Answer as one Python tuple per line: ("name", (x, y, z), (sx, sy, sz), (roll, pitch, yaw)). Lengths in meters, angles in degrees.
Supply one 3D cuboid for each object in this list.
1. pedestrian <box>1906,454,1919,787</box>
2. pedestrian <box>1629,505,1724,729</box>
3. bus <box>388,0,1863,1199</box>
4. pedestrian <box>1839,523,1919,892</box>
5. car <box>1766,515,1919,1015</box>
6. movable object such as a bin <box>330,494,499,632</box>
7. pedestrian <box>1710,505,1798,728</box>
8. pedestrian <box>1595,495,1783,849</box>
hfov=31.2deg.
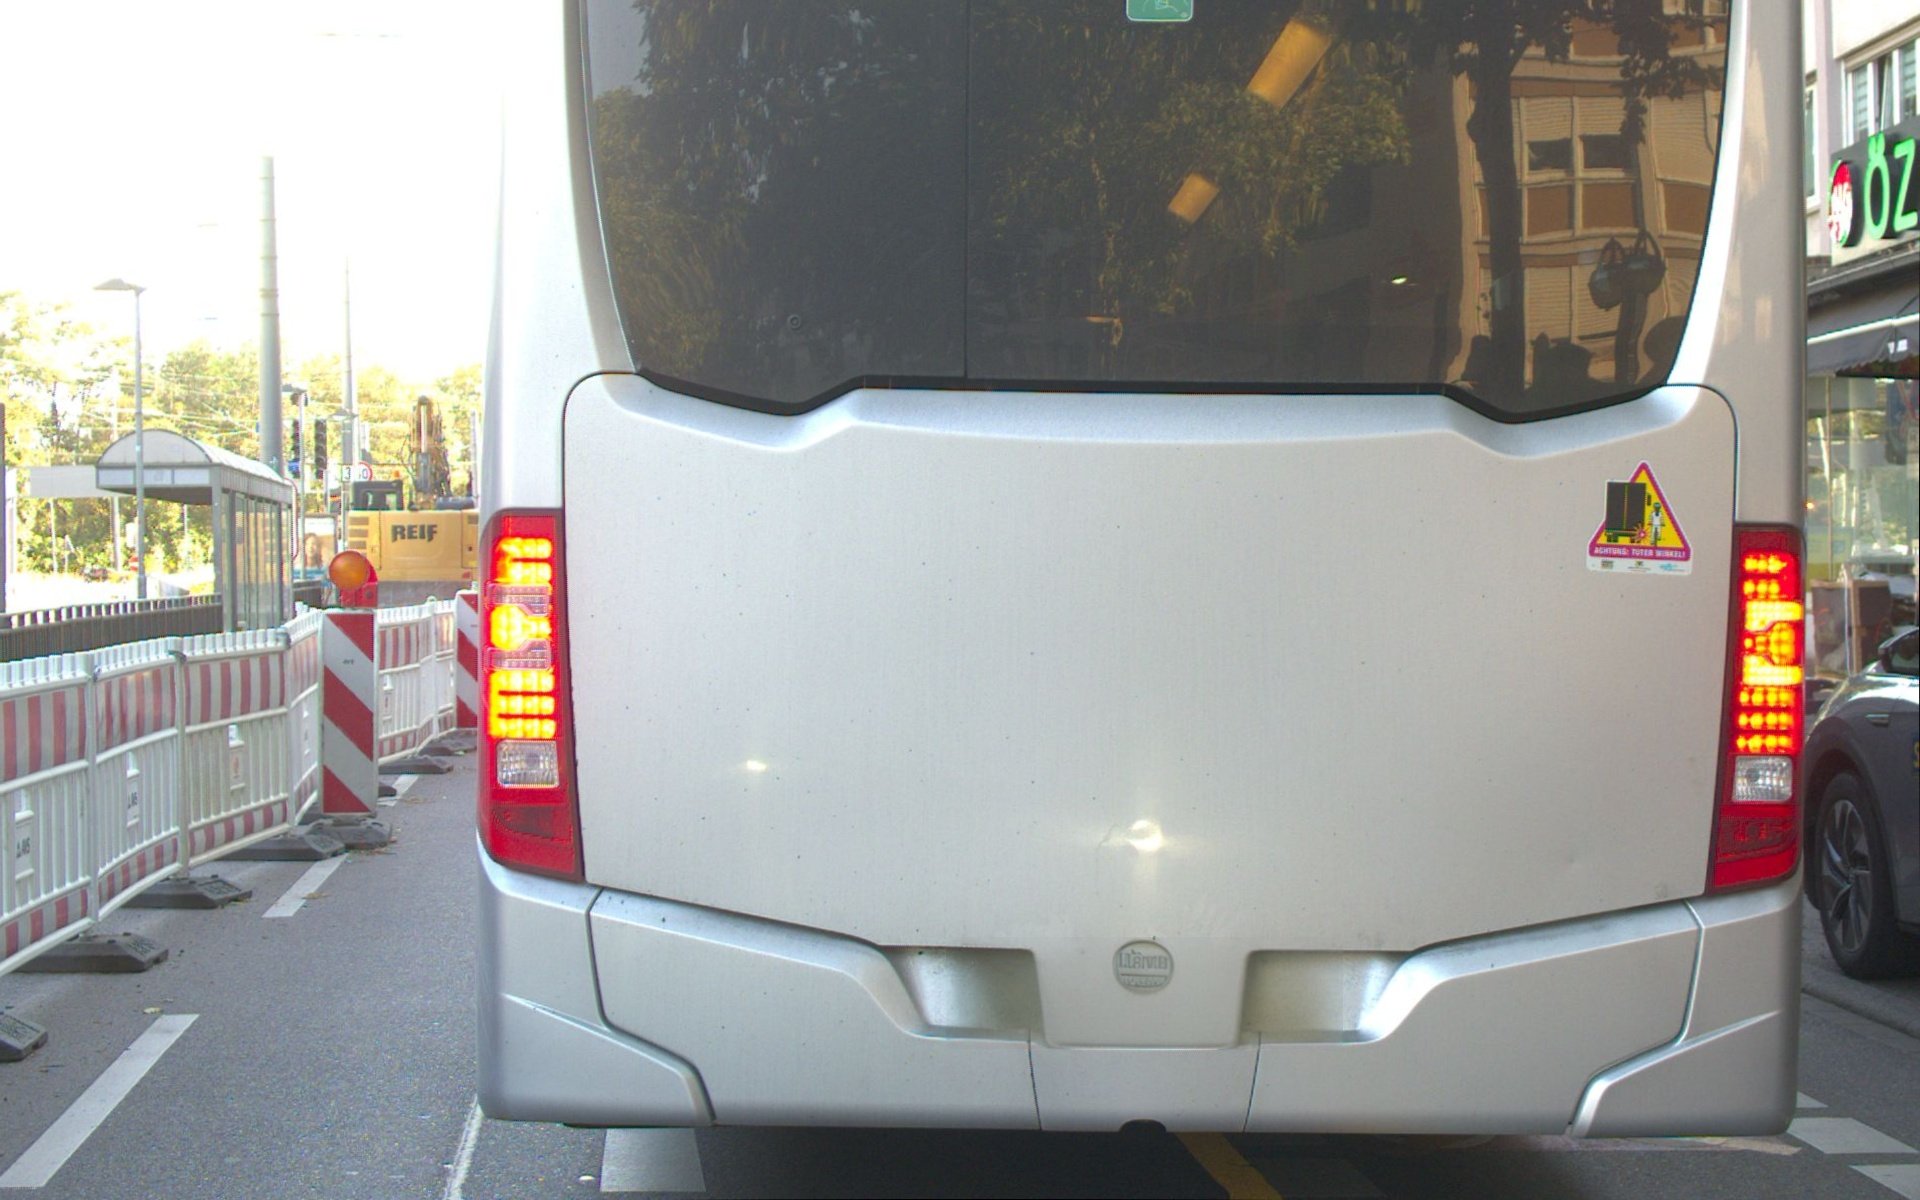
("pedestrian", (6.150, 0.115, 20.444), (0.769, 2.007, 0.714), (-2, 0, -1))
("pedestrian", (6.528, 0.151, 31.331), (0.691, 2.007, 0.696), (-1, 0, -1))
("bus", (0.267, -0.278, 11.234), (2.608, 3.159, 10.292), (0, 1, 0))
("pedestrian", (4.373, 0.451, 14.974), (0.750, 1.575, 0.875), (0, 1, 38))
("car", (3.983, 0.501, 10.249), (1.739, 1.592, 4.300), (-3, 1, -5))
("movable object such as a bin", (-10.047, -0.694, 63.657), (2.806, 2.453, 4.001), (-1, 1, -5))
("pedestrian", (7.256, 0.144, 31.424), (0.612, 2.007, 0.696), (-1, 0, -1))
("pedestrian", (3.627, 0.346, 17.142), (0.752, 1.720, 0.661), (-1, 0, -3))
